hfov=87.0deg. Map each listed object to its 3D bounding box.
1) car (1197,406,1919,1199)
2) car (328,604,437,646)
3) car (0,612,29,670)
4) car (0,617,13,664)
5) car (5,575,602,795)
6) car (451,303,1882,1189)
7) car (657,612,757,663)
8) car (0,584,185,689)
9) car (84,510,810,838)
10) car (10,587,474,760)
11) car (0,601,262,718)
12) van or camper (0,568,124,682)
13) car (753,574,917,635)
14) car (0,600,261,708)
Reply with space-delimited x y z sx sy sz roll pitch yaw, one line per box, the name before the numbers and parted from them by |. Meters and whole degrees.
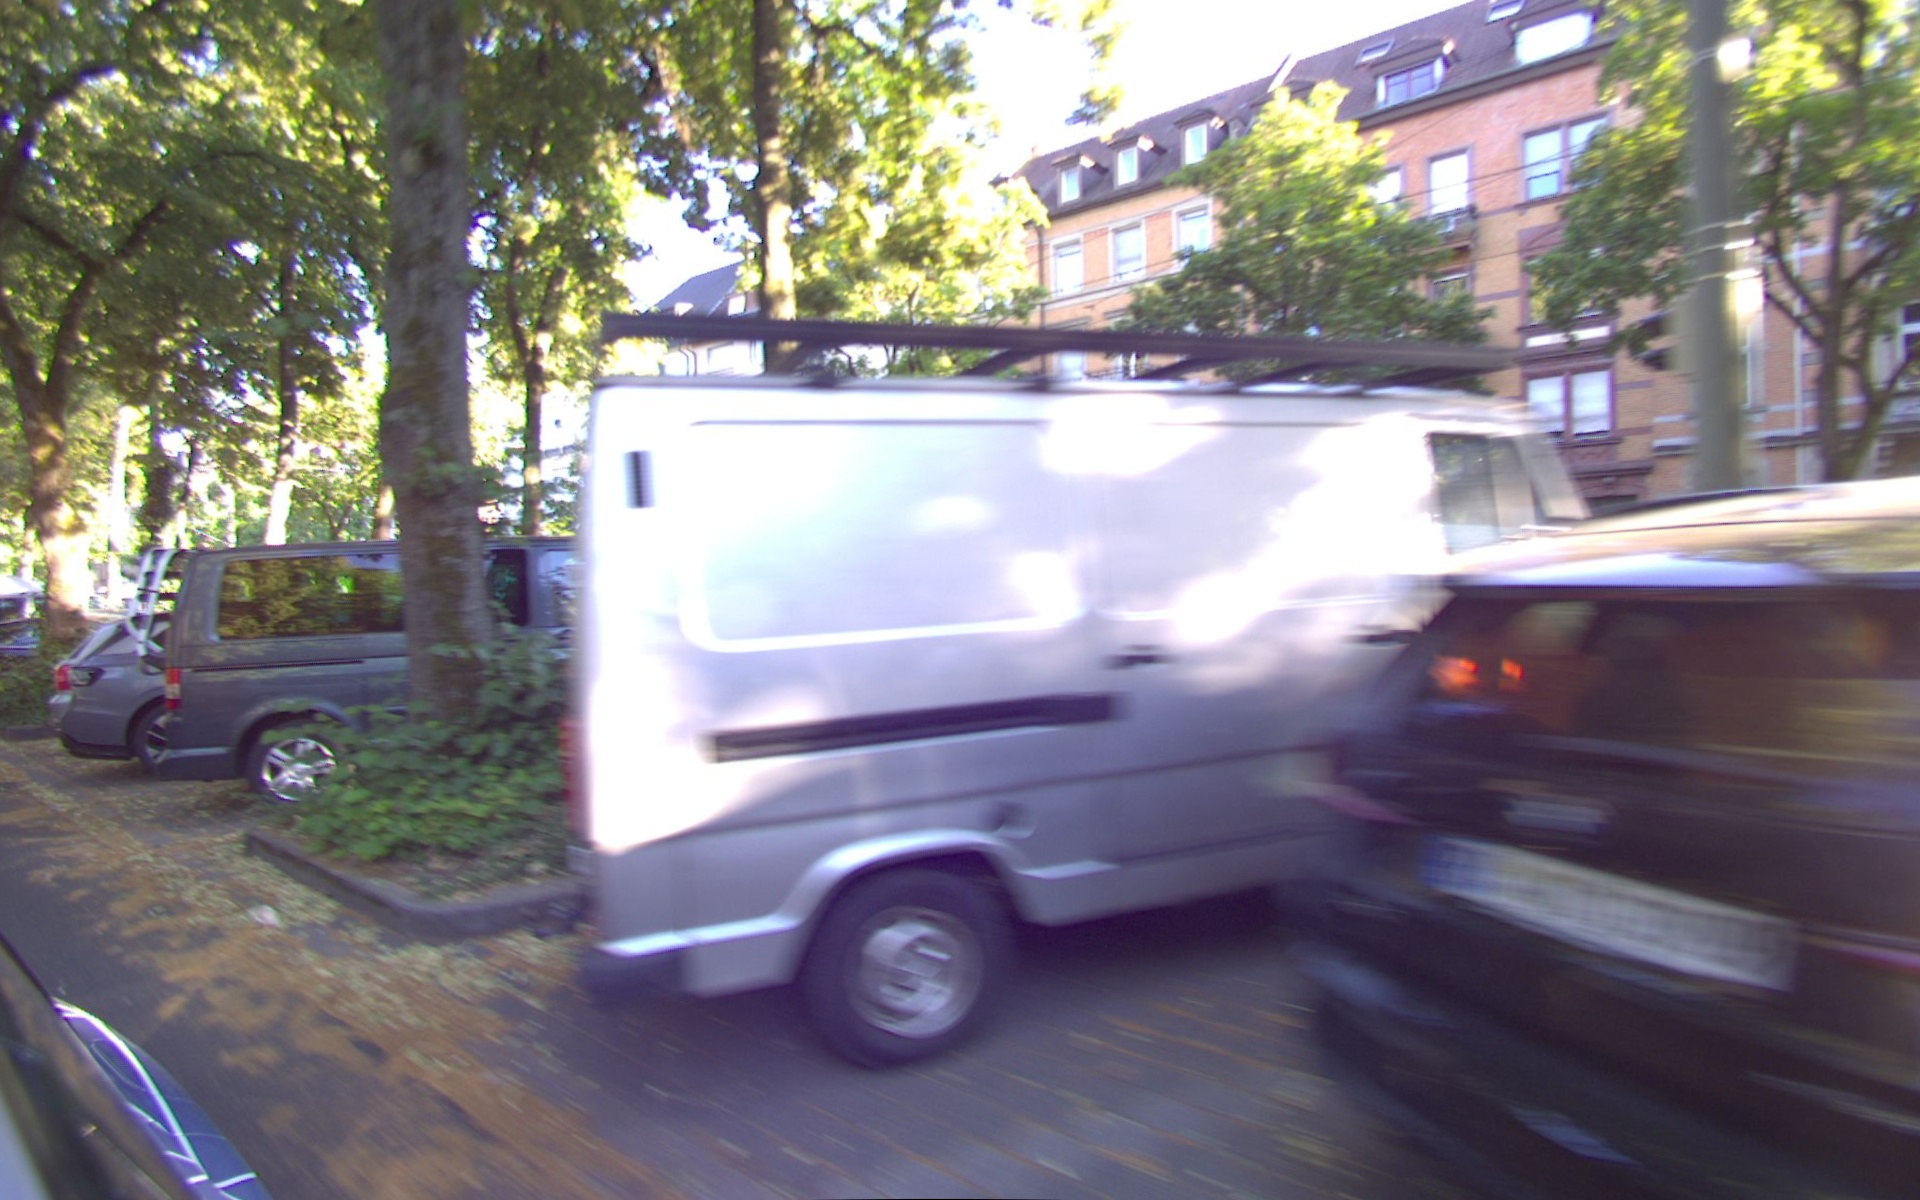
car | 3.000 0.423 2.433 4.442 1.628 1.941 -5 3 -26
car | -26.508 1.127 46.616 4.245 1.832 1.819 -1 -1 -25
car | -27.753 1.238 27.206 3.490 1.504 1.832 -4 3 -21
car | -32.101 1.443 30.932 4.171 1.451 1.863 -5 3 -25
car | -6.002 0.669 9.979 4.494 1.552 1.941 -4 3 -17
car | 1.020 0.154 4.359 5.420 2.152 2.088 -4 3 -20
car | -11.153 1.665 44.490 4.411 2.008 1.834 -2 2 38
car | -19.962 0.807 21.721 4.802 1.992 2.052 -4 3 -22
car | -3.742 0.407 8.243 4.634 1.957 1.941 -4 3 -17
car | -8.097 0.741 11.903 4.024 1.499 1.790 -4 3 -19
car | -13.421 0.899 15.750 3.760 1.449 1.831 -4 3 -16
van or camper | -22.817 0.637 23.432 4.802 2.488 2.052 -4 3 -24
car | -3.530 0.118 28.367 4.250 1.594 1.912 -1 -1 -18
car | -14.779 0.893 17.947 3.490 1.504 1.832 -4 3 -21
